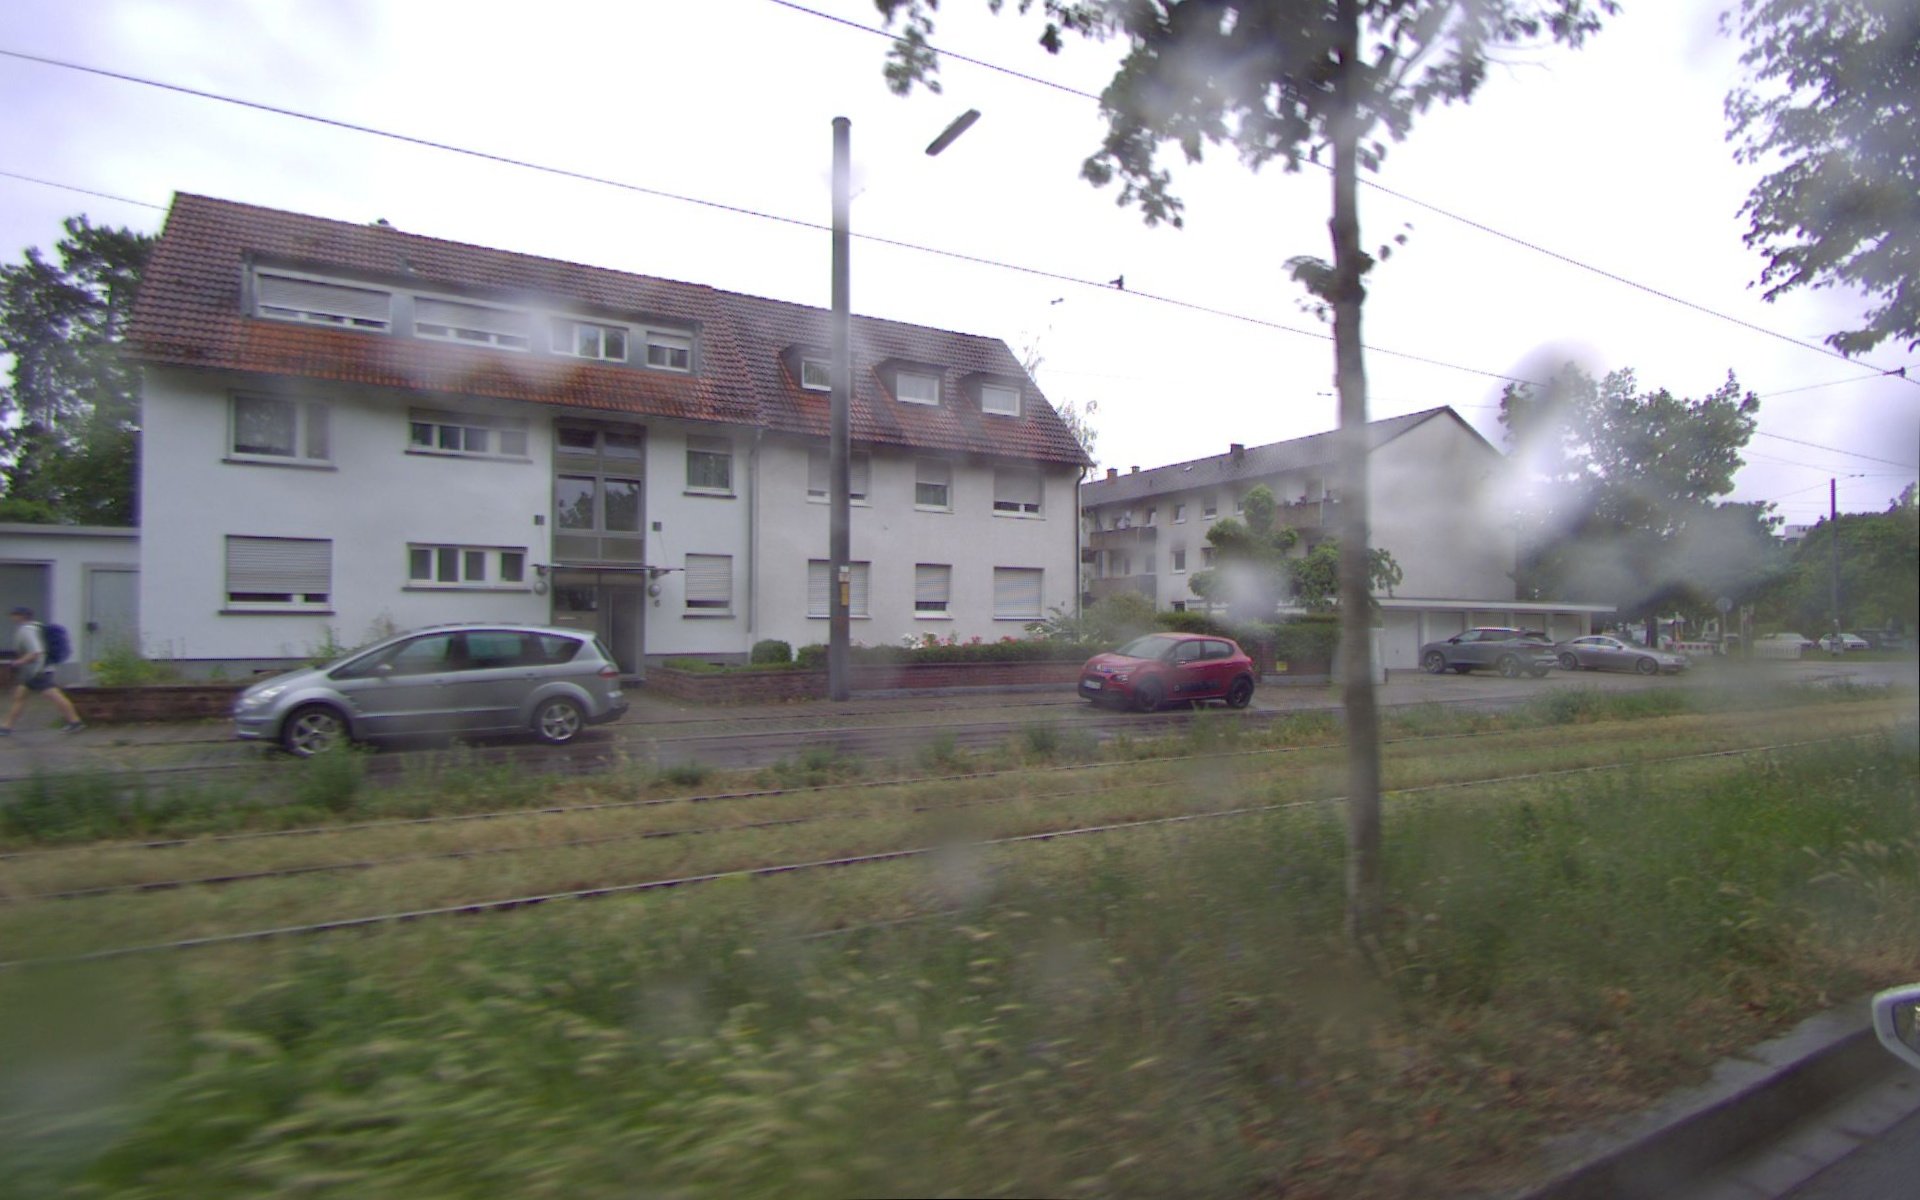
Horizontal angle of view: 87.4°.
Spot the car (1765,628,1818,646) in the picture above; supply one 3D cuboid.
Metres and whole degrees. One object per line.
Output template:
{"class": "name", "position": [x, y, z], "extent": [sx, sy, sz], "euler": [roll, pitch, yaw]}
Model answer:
{"class": "car", "position": [59.095, 2.614, 71.433], "extent": [1.632, 1.265, 3.743], "euler": [-1, -2, 19]}

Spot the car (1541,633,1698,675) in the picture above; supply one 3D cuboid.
{"class": "car", "position": [24.805, 1.988, 37.969], "extent": [1.825, 1.383, 4.705], "euler": [1, -1, -29]}

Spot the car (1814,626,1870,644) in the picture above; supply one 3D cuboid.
{"class": "car", "position": [62.149, 2.474, 70.818], "extent": [1.632, 1.265, 3.743], "euler": [-1, -2, 19]}

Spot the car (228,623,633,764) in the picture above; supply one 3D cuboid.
{"class": "car", "position": [-7.104, 1.158, 13.882], "extent": [4.628, 1.635, 1.984], "euler": [1, 0, -30]}

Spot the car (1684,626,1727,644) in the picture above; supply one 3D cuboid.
{"class": "car", "position": [55.110, 2.615, 74.306], "extent": [1.633, 1.265, 3.742], "euler": [-1, -2, 21]}

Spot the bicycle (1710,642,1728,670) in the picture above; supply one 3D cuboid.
{"class": "bicycle", "position": [30.342, 2.232, 40.181], "extent": [0.474, 1.033, 1.835], "euler": [3, 1, 35]}

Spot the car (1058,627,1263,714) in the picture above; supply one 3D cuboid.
{"class": "car", "position": [4.174, 1.390, 20.810], "extent": [3.925, 1.568, 1.833], "euler": [1, 1, -30]}

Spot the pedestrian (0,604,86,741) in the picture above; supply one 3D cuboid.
{"class": "pedestrian", "position": [-12.432, 0.949, 13.548], "extent": [0.859, 1.791, 0.595], "euler": [1, 0, -30]}

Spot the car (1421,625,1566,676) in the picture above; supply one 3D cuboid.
{"class": "car", "position": [17.908, 1.648, 33.890], "extent": [1.871, 1.597, 3.968], "euler": [1, -2, -30]}
